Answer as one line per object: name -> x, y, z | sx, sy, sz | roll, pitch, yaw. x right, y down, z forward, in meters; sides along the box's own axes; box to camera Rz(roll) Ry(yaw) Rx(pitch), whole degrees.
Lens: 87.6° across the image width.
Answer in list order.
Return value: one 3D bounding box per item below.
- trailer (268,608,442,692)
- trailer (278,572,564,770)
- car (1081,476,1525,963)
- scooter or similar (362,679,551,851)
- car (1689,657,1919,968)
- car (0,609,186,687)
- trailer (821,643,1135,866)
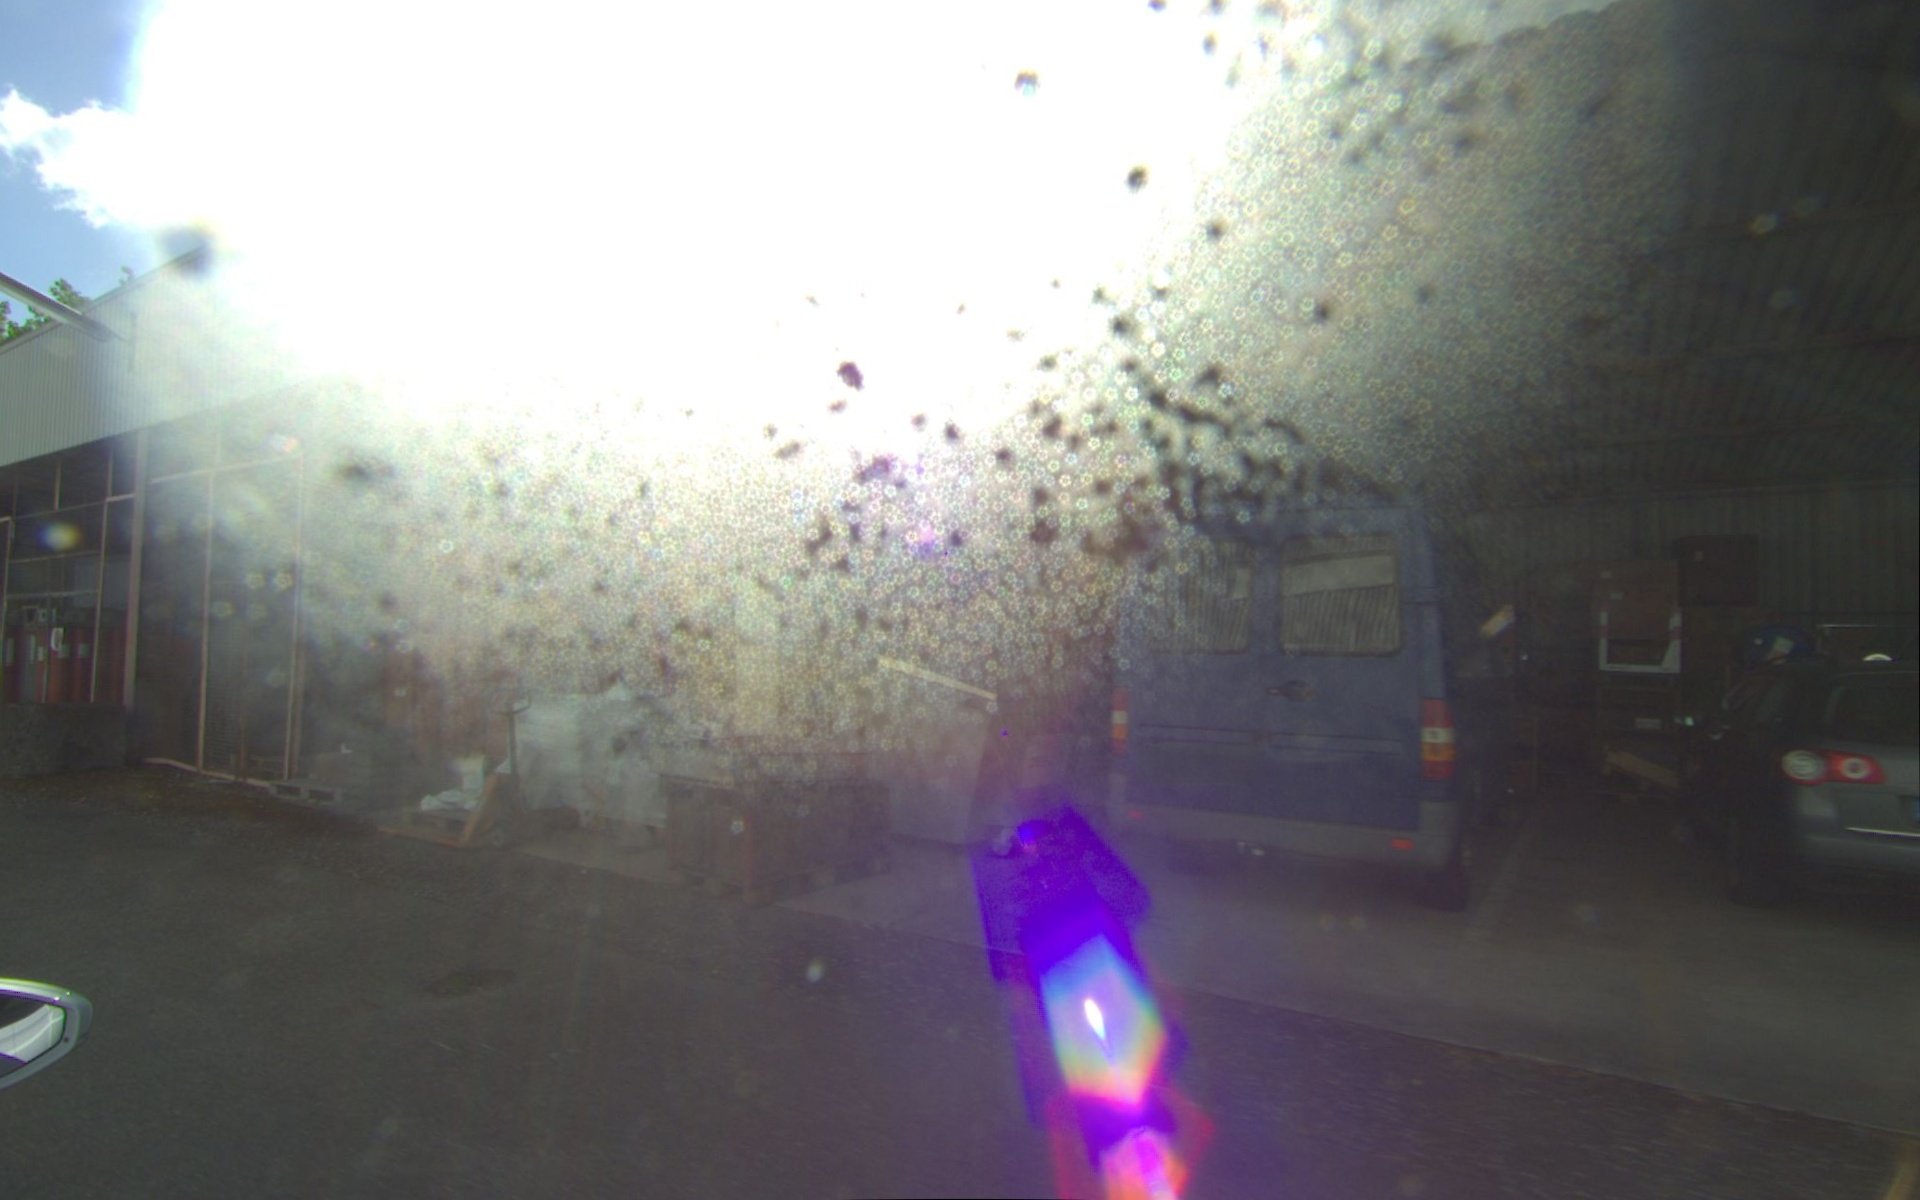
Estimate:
trailer -> -16.751, 1.403, 27.817 | 2.431, 2.164, 3.397 | -1, -3, 35
trailer -> -6.800, 0.839, 12.583 | 3.469, 2.170, 1.576 | -1, -2, 30
car -> 2.960, 0.731, 7.558 | 2.054, 2.325, 5.210 | -1, -4, 32
scooter or similar -> -3.807, 1.184, 7.540 | 1.570, 1.148, 0.519 | -1, -3, 33
car -> 5.993, 1.131, 6.447 | 1.824, 1.472, 4.101 | -1, -3, 32
car -> -24.391, 1.322, 26.916 | 2.243, 1.941, 5.167 | -1, -4, 28
trailer -> 0.207, 1.107, 8.013 | 1.620, 1.480, 2.089 | -2, -4, 36
